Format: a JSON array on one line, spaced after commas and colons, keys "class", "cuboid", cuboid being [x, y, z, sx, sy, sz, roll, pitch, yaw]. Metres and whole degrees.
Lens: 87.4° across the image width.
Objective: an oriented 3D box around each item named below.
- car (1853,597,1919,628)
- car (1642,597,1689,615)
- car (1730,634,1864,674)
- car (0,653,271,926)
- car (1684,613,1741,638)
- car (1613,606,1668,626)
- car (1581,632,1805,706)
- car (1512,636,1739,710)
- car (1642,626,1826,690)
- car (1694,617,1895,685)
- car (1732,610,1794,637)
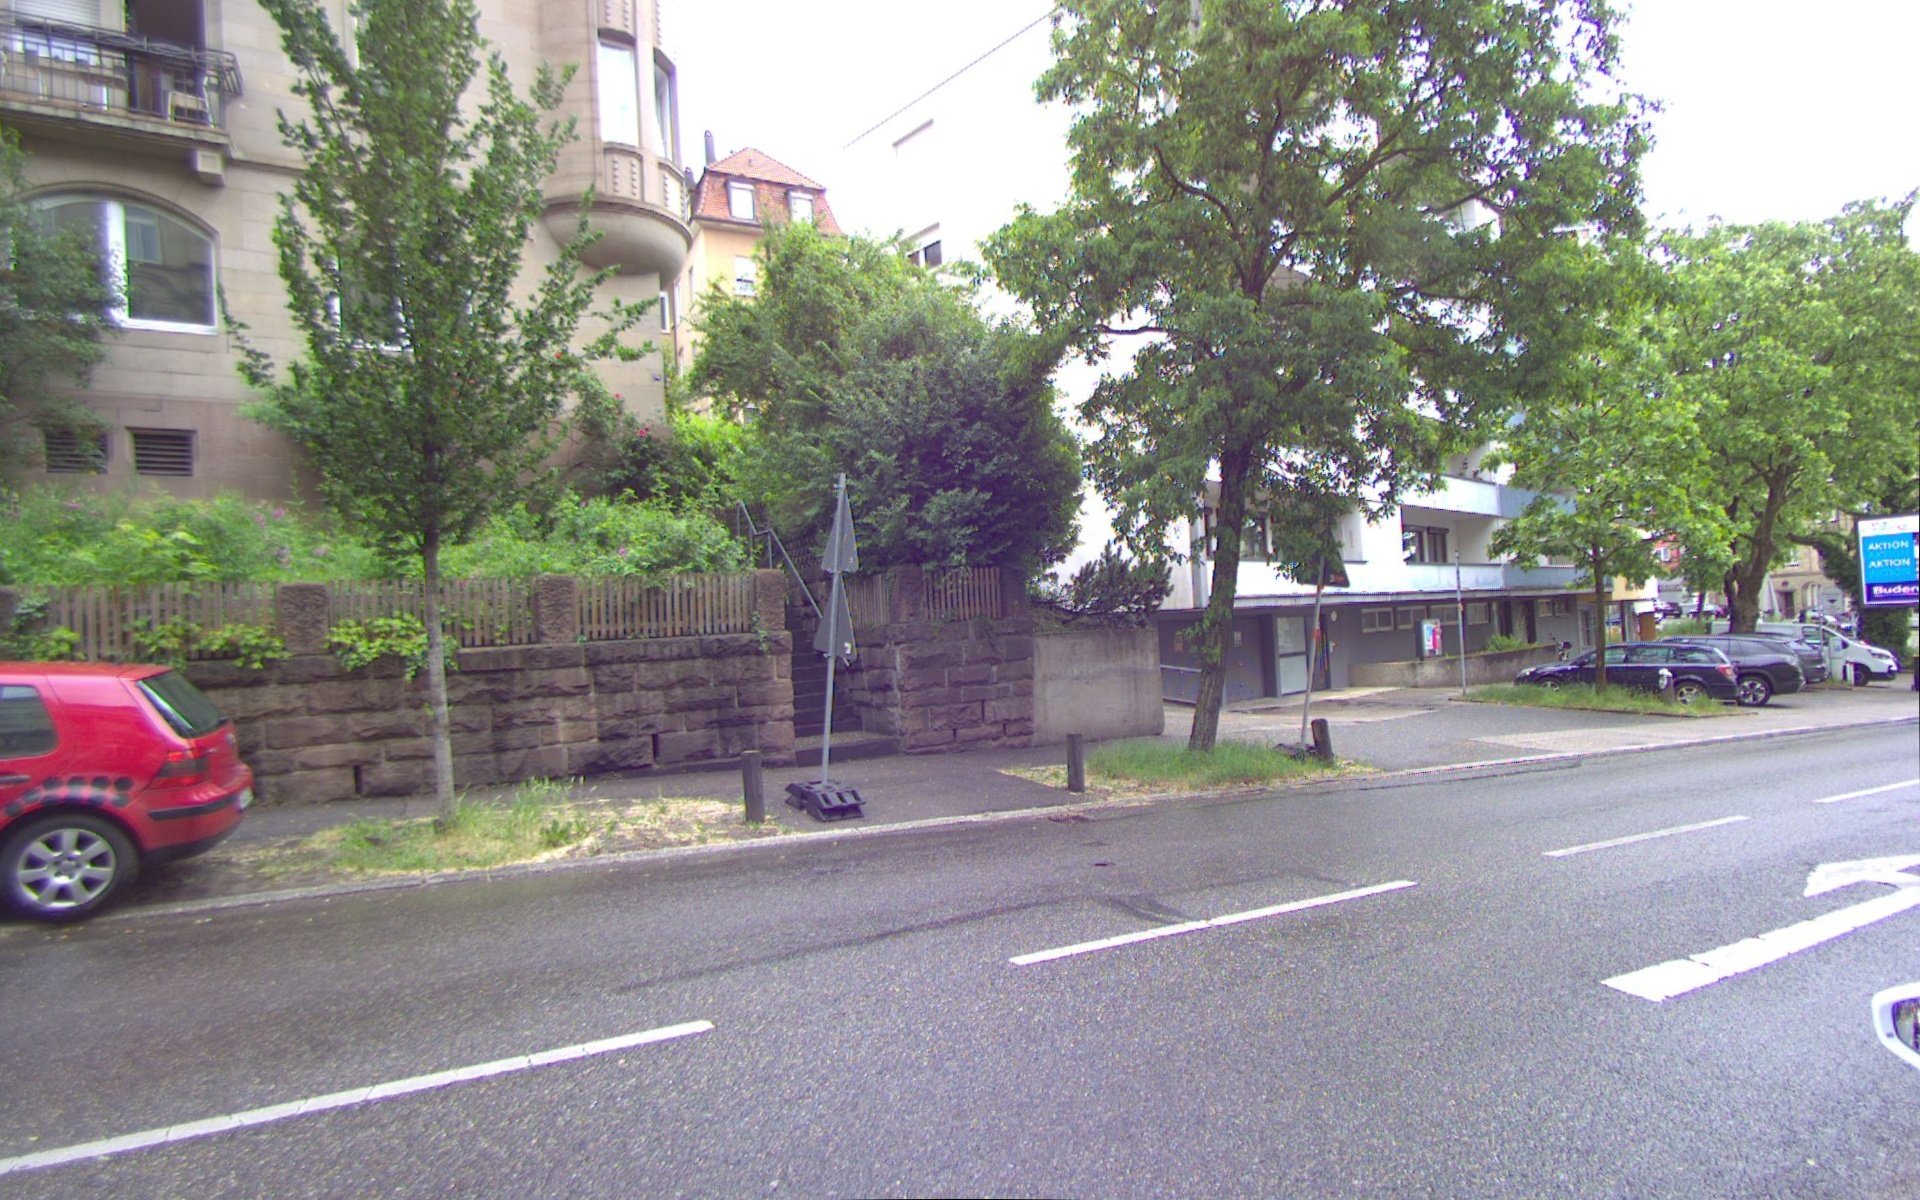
[{"class": "car", "cuboid": [69.404, 0.900, 74.784, 1.961, 2.130, 4.291, -1, 1, -1]}, {"class": "car", "cuboid": [69.133, 0.566, 98.465, 1.694, 1.711, 3.999, 2, 0, -2]}, {"class": "car", "cuboid": [32.701, 2.084, 39.355, 3.925, 1.469, 1.761, -2, -3, 40]}, {"class": "car", "cuboid": [-6.517, 1.076, 5.804, 4.015, 1.470, 1.606, 1, -2, -30]}, {"class": "car", "cuboid": [68.831, 2.279, 91.985, 1.961, 2.130, 4.291, -1, 1, -1]}, {"class": "car", "cuboid": [60.645, 1.431, 89.611, 1.961, 1.749, 4.249, -2, -1, -1]}, {"class": "car", "cuboid": [18.100, 1.703, 24.979, 4.312, 1.694, 1.848, -3, -4, 38]}, {"class": "car", "cuboid": [15.666, 1.700, 23.768, 4.303, 1.594, 1.935, -3, -4, 38]}, {"class": "car", "cuboid": [23.457, 1.733, 30.563, 4.305, 1.807, 1.931, -2, -3, 40]}, {"class": "car", "cuboid": [27.653, 1.670, 33.502, 5.000, 2.132, 1.983, -2, -3, 40]}, {"class": "car", "cuboid": [69.437, 1.993, 86.929, 1.961, 2.130, 4.291, -1, 1, -1]}]
